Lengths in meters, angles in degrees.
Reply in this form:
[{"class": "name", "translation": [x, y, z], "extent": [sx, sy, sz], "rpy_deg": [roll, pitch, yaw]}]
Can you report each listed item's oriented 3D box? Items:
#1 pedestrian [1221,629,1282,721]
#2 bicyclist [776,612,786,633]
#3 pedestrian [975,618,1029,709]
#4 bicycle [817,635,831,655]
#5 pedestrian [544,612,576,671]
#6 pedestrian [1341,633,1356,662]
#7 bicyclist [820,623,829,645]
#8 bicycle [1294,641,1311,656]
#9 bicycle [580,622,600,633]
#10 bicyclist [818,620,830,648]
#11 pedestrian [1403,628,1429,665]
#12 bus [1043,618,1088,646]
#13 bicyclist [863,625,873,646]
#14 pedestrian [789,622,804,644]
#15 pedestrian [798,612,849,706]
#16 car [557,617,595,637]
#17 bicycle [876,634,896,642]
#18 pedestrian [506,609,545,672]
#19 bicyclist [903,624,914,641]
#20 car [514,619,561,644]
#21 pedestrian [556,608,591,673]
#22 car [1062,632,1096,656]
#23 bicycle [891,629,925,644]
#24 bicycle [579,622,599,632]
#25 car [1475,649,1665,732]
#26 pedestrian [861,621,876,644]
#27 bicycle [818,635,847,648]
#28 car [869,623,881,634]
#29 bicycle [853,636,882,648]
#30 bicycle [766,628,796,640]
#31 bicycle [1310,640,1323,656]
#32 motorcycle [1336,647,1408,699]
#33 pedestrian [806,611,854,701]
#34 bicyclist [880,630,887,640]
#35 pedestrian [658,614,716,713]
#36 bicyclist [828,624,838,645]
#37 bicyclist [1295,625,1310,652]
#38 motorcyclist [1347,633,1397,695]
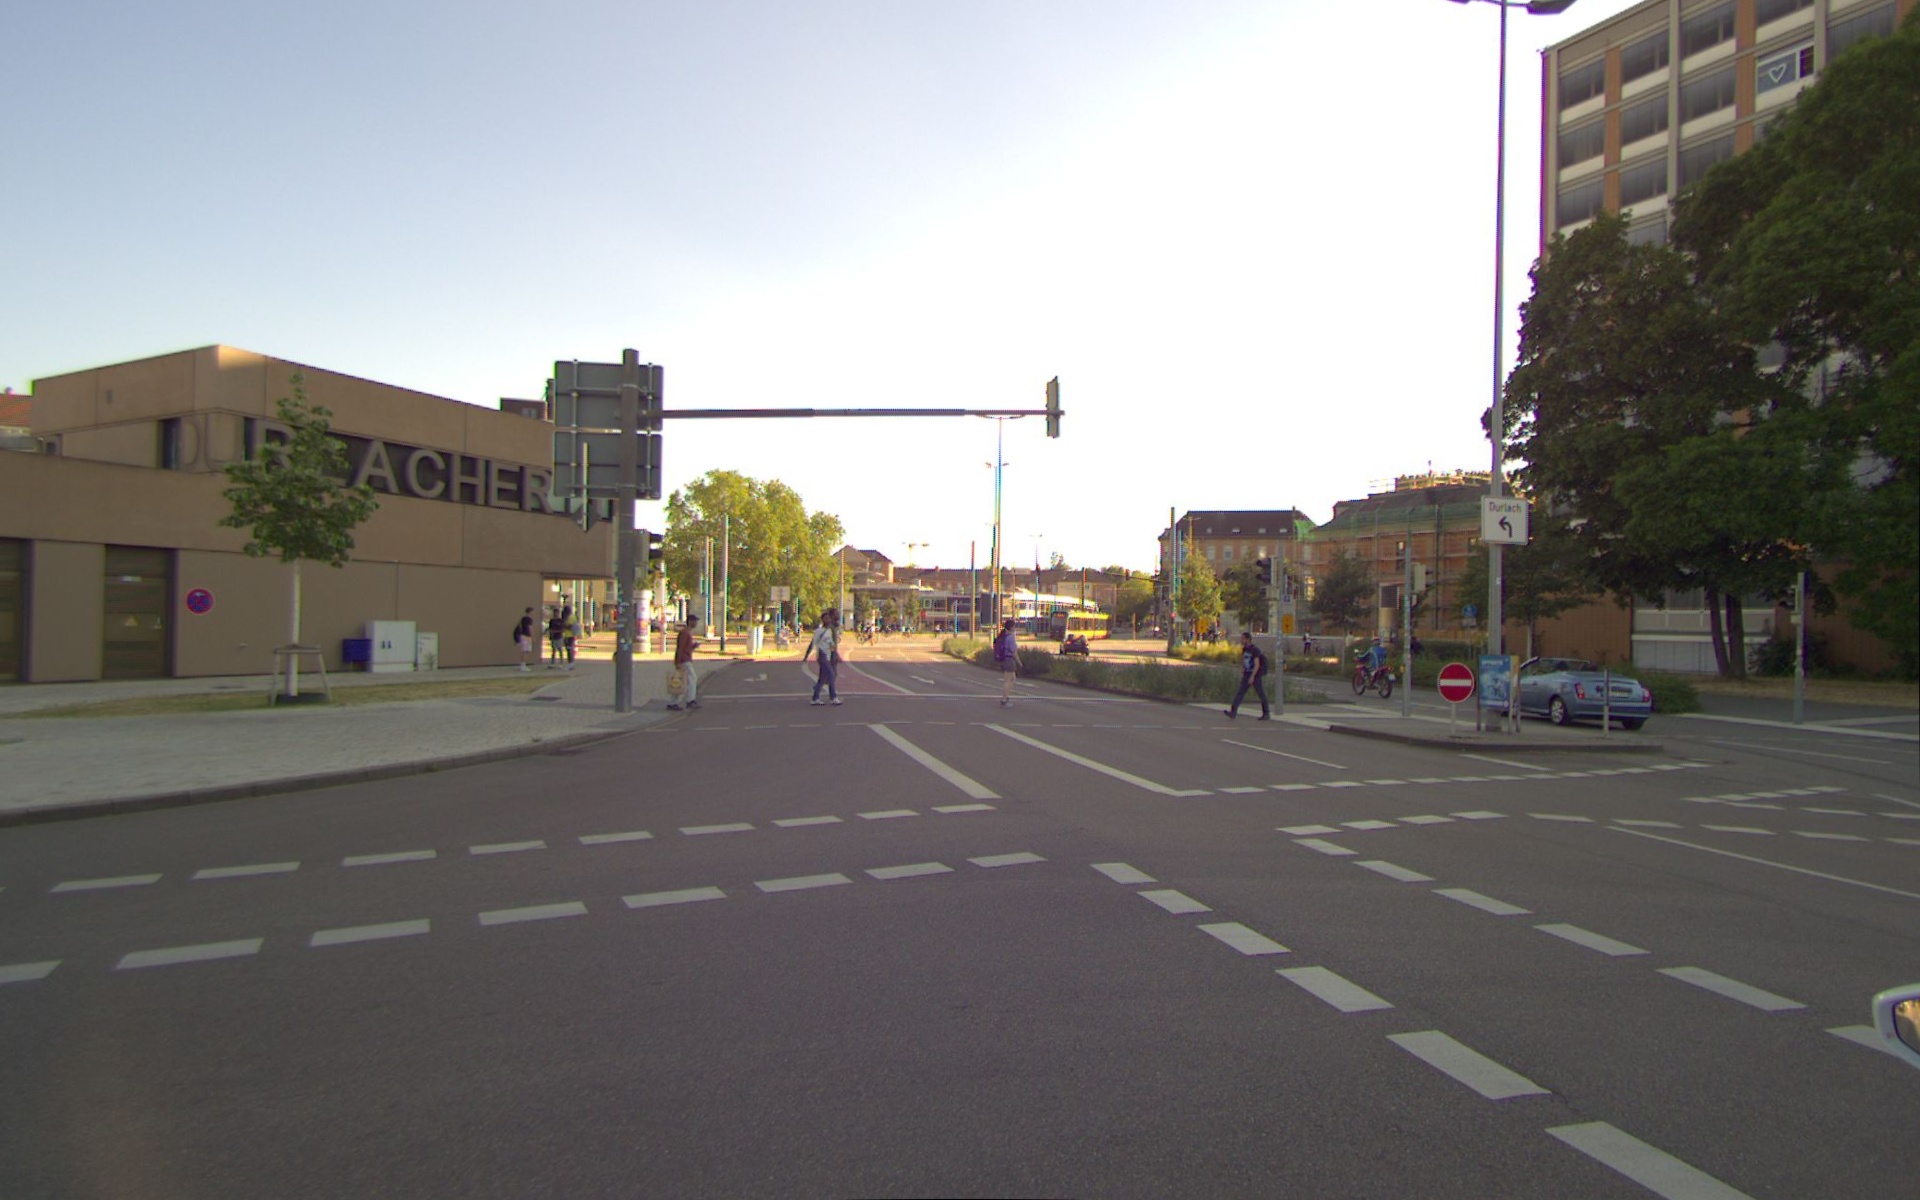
[{"class": "pedestrian", "translation": [5.595, 1.429, 19.313], "extent": [0.884, 1.707, 0.746], "rpy_deg": [1, -1, -10]}, {"class": "bicyclist", "translation": [-14.820, 1.879, 83.166], "extent": [0.734, 1.713, 0.858], "rpy_deg": [2, 1, -12]}, {"class": "pedestrian", "translation": [0.827, 1.257, 20.011], "extent": [0.911, 1.764, 0.756], "rpy_deg": [1, -1, -10]}, {"class": "bicycle", "translation": [-9.203, 3.028, 67.792], "extent": [0.729, 1.271, 2.551], "rpy_deg": [2, -2, -12]}, {"class": "pedestrian", "translation": [-11.848, 1.227, 29.741], "extent": [0.626, 1.711, 0.550], "rpy_deg": [2, 1, 13]}, {"class": "pedestrian", "translation": [23.384, 2.847, 60.487], "extent": [0.711, 1.680, 0.718], "rpy_deg": [3, -1, 20]}, {"class": "bicyclist", "translation": [-11.102, 2.789, 82.275], "extent": [0.575, 1.801, 0.864], "rpy_deg": [1, -1, -18]}, {"class": "bicycle", "translation": [23.395, 3.304, 68.629], "extent": [0.776, 1.052, 1.964], "rpy_deg": [-1, -2, 8]}, {"class": "bicycle", "translation": [-40.863, 3.028, 110.935], "extent": [2.017, 1.104, 0.774], "rpy_deg": [1, -1, -19]}, {"class": "bicyclist", "translation": [-9.205, 2.315, 67.885], "extent": [0.729, 1.856, 1.011], "rpy_deg": [2, -2, -12]}, {"class": "pedestrian", "translation": [21.284, 2.170, 46.848], "extent": [0.794, 1.681, 0.789], "rpy_deg": [0, 0, -9]}, {"class": "bus", "translation": [12.251, 3.650, 115.768], "extent": [2.316, 2.922, 9.573], "rpy_deg": [2, 0, 23]}, {"class": "bicyclist", "translation": [-7.737, 2.990, 84.187], "extent": [0.640, 1.713, 0.857], "rpy_deg": [2, 1, -14]}, {"class": "pedestrian", "translation": [-12.477, 2.523, 76.674], "extent": [1.076, 1.628, 0.697], "rpy_deg": [2, 1, -10]}, {"class": "pedestrian", "translation": [-2.615, 1.118, 19.236], "extent": [0.911, 1.764, 0.756], "rpy_deg": [1, -1, -10]}, {"class": "car", "translation": [-39.395, 2.782, 103.083], "extent": [3.936, 1.882, 1.846], "rpy_deg": [2, 1, 37]}, {"class": "bicycle", "translation": [-8.752, 4.471, 118.243], "extent": [2.261, 0.972, 0.859], "rpy_deg": [0, 2, -9]}, {"class": "pedestrian", "translation": [-12.440, 1.154, 28.757], "extent": [0.722, 1.754, 0.664], "rpy_deg": [2, 1, 25]}, {"class": "bicyclist", "translation": [-6.273, 3.953, 122.121], "extent": [1.056, 1.926, 1.118], "rpy_deg": [2, 1, -17]}, {"class": "car", "translation": [-37.698, 2.786, 89.755], "extent": [3.688, 2.040, 1.991], "rpy_deg": [2, 0, -19]}, {"class": "pedestrian", "translation": [-11.219, 1.165, 29.153], "extent": [0.704, 1.860, 0.639], "rpy_deg": [2, 1, 0]}, {"class": "car", "translation": [7.844, 2.877, 66.530], "extent": [1.771, 1.463, 3.979], "rpy_deg": [3, -1, 1]}, {"class": "bicycle", "translation": [-6.278, 4.444, 122.104], "extent": [3.937, 1.712, 1.134], "rpy_deg": [2, 1, -18]}, {"class": "bicycle", "translation": [-41.230, 3.011, 111.702], "extent": [2.017, 1.104, 0.774], "rpy_deg": [1, -1, -19]}, {"class": "car", "translation": [13.021, 1.877, 21.757], "extent": [1.771, 1.463, 3.980], "rpy_deg": [3, -1, 2]}, {"class": "pedestrian", "translation": [-6.945, 2.446, 76.220], "extent": [0.822, 1.694, 0.691], "rpy_deg": [2, -1, -39]}, {"class": "bicycle", "translation": [-10.466, 3.418, 82.496], "extent": [2.268, 0.918, 0.856], "rpy_deg": [2, 0, -19]}, {"class": "car", "translation": [-14.175, 4.709, 166.969], "extent": [1.962, 1.555, 3.997], "rpy_deg": [2, 0, -5]}, {"class": "bicycle", "translation": [-7.775, 3.492, 84.198], "extent": [2.265, 0.918, 0.857], "rpy_deg": [2, 0, -15]}, {"class": "bicycle", "translation": [-14.824, 2.853, 83.179], "extent": [2.458, 0.886, 0.858], "rpy_deg": [2, 0, -13]}, {"class": "bicycle", "translation": [24.374, 3.286, 68.727], "extent": [0.616, 1.052, 1.961], "rpy_deg": [-2, -2, 26]}, {"class": "motorcycle", "translation": [12.134, 2.131, 29.705], "extent": [1.078, 1.395, 2.654], "rpy_deg": [2, -2, 2]}, {"class": "pedestrian", "translation": [-2.613, 1.108, 20.150], "extent": [0.911, 1.764, 0.756], "rpy_deg": [1, -1, -10]}, {"class": "bicyclist", "translation": [-8.993, 4.108, 118.199], "extent": [0.702, 1.158, 0.836], "rpy_deg": [3, 0, -8]}, {"class": "pedestrian", "translation": [-5.012, 1.158, 18.485], "extent": [0.911, 1.764, 0.786], "rpy_deg": [1, -1, -10]}, {"class": "bicyclist", "translation": [-10.433, 2.845, 82.499], "extent": [0.641, 1.713, 0.856], "rpy_deg": [2, 1, -19]}, {"class": "bicyclist", "translation": [23.376, 2.624, 68.600], "extent": [0.773, 1.810, 0.894], "rpy_deg": [-1, -2, 8]}, {"class": "motorcyclist", "translation": [12.136, 1.870, 29.634], "extent": [1.078, 1.744, 0.937], "rpy_deg": [2, -2, 2]}]
